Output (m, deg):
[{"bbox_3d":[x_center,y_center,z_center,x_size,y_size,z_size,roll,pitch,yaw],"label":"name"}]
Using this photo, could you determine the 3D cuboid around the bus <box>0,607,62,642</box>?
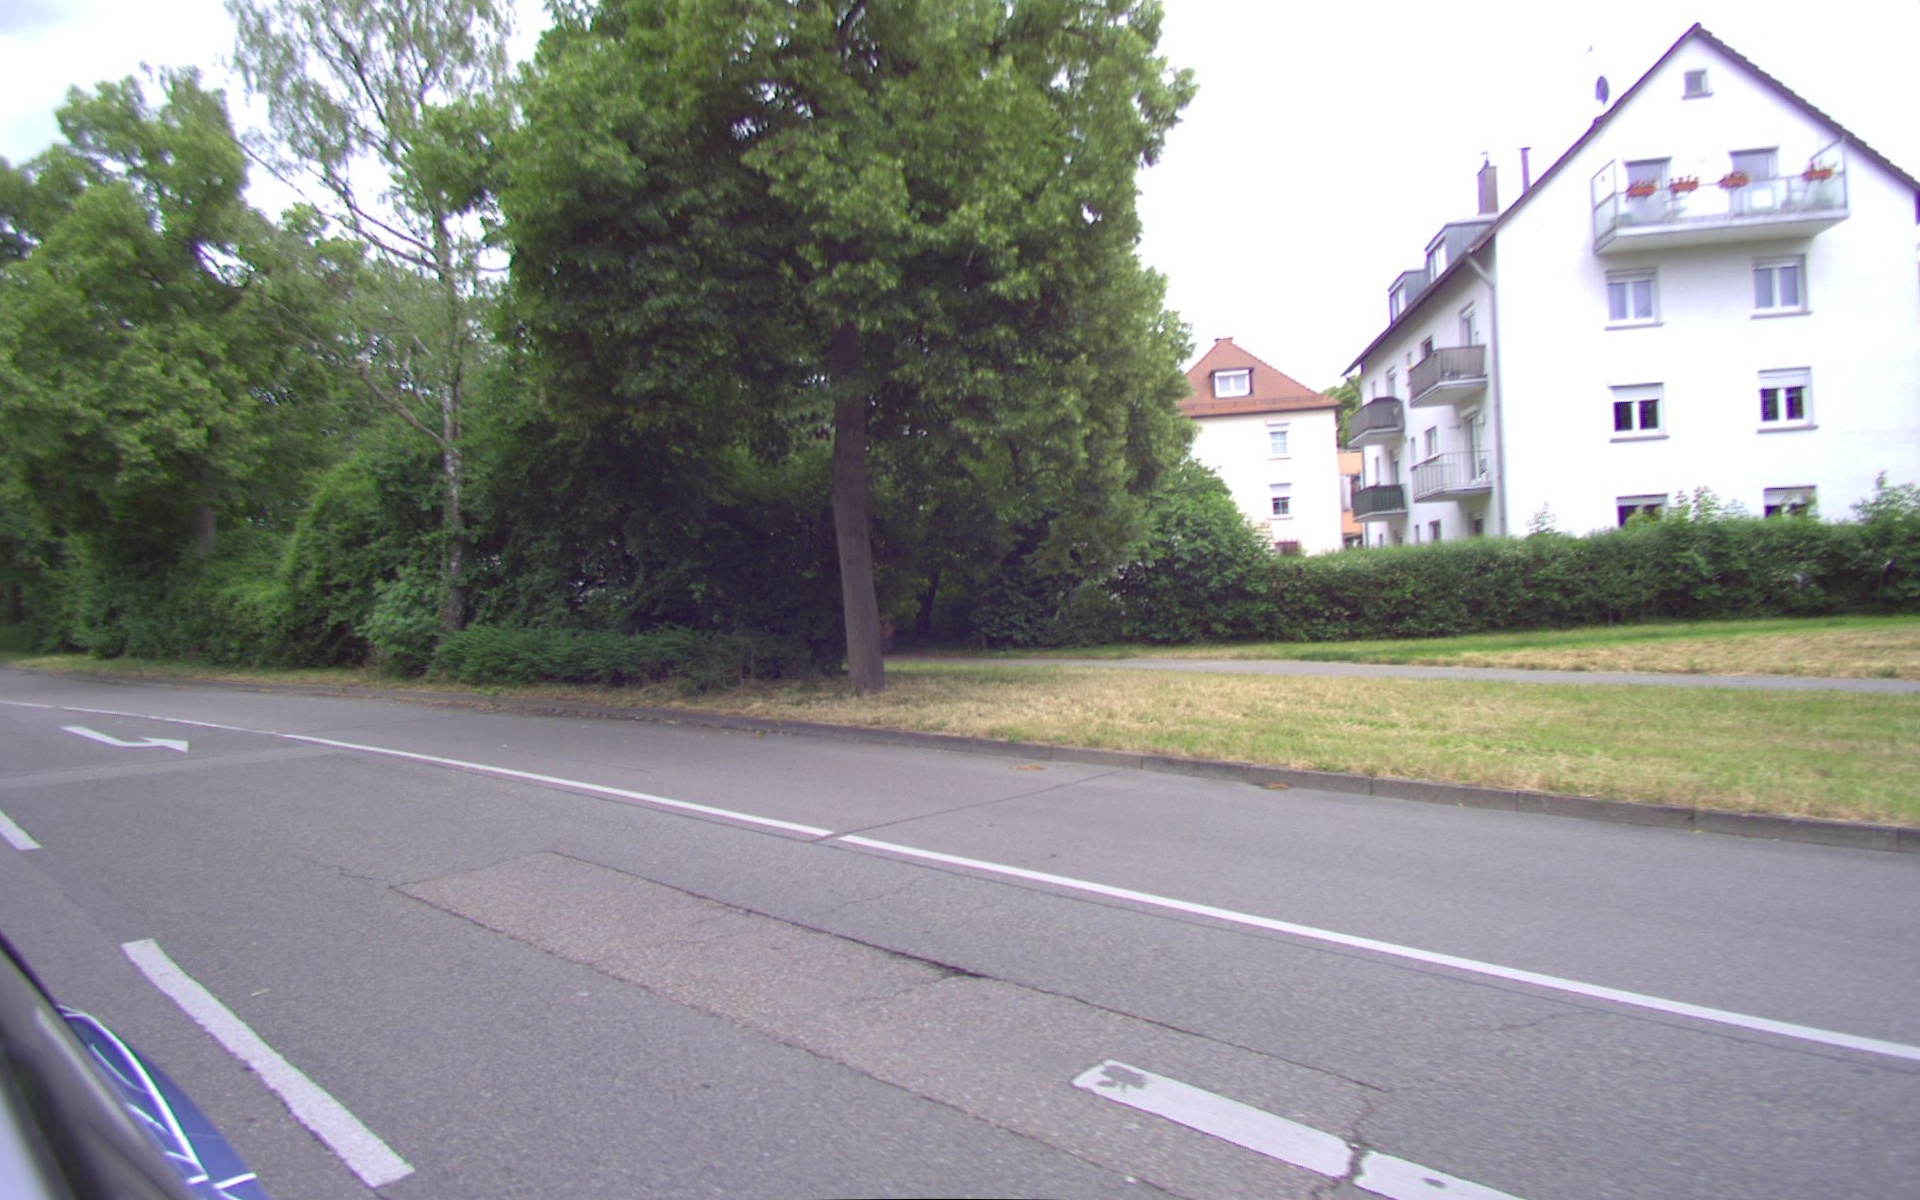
[{"bbox_3d":[-89.382,2.362,95.073,3.007,3.031,8.441,-4,1,-5],"label":"bus"}]
